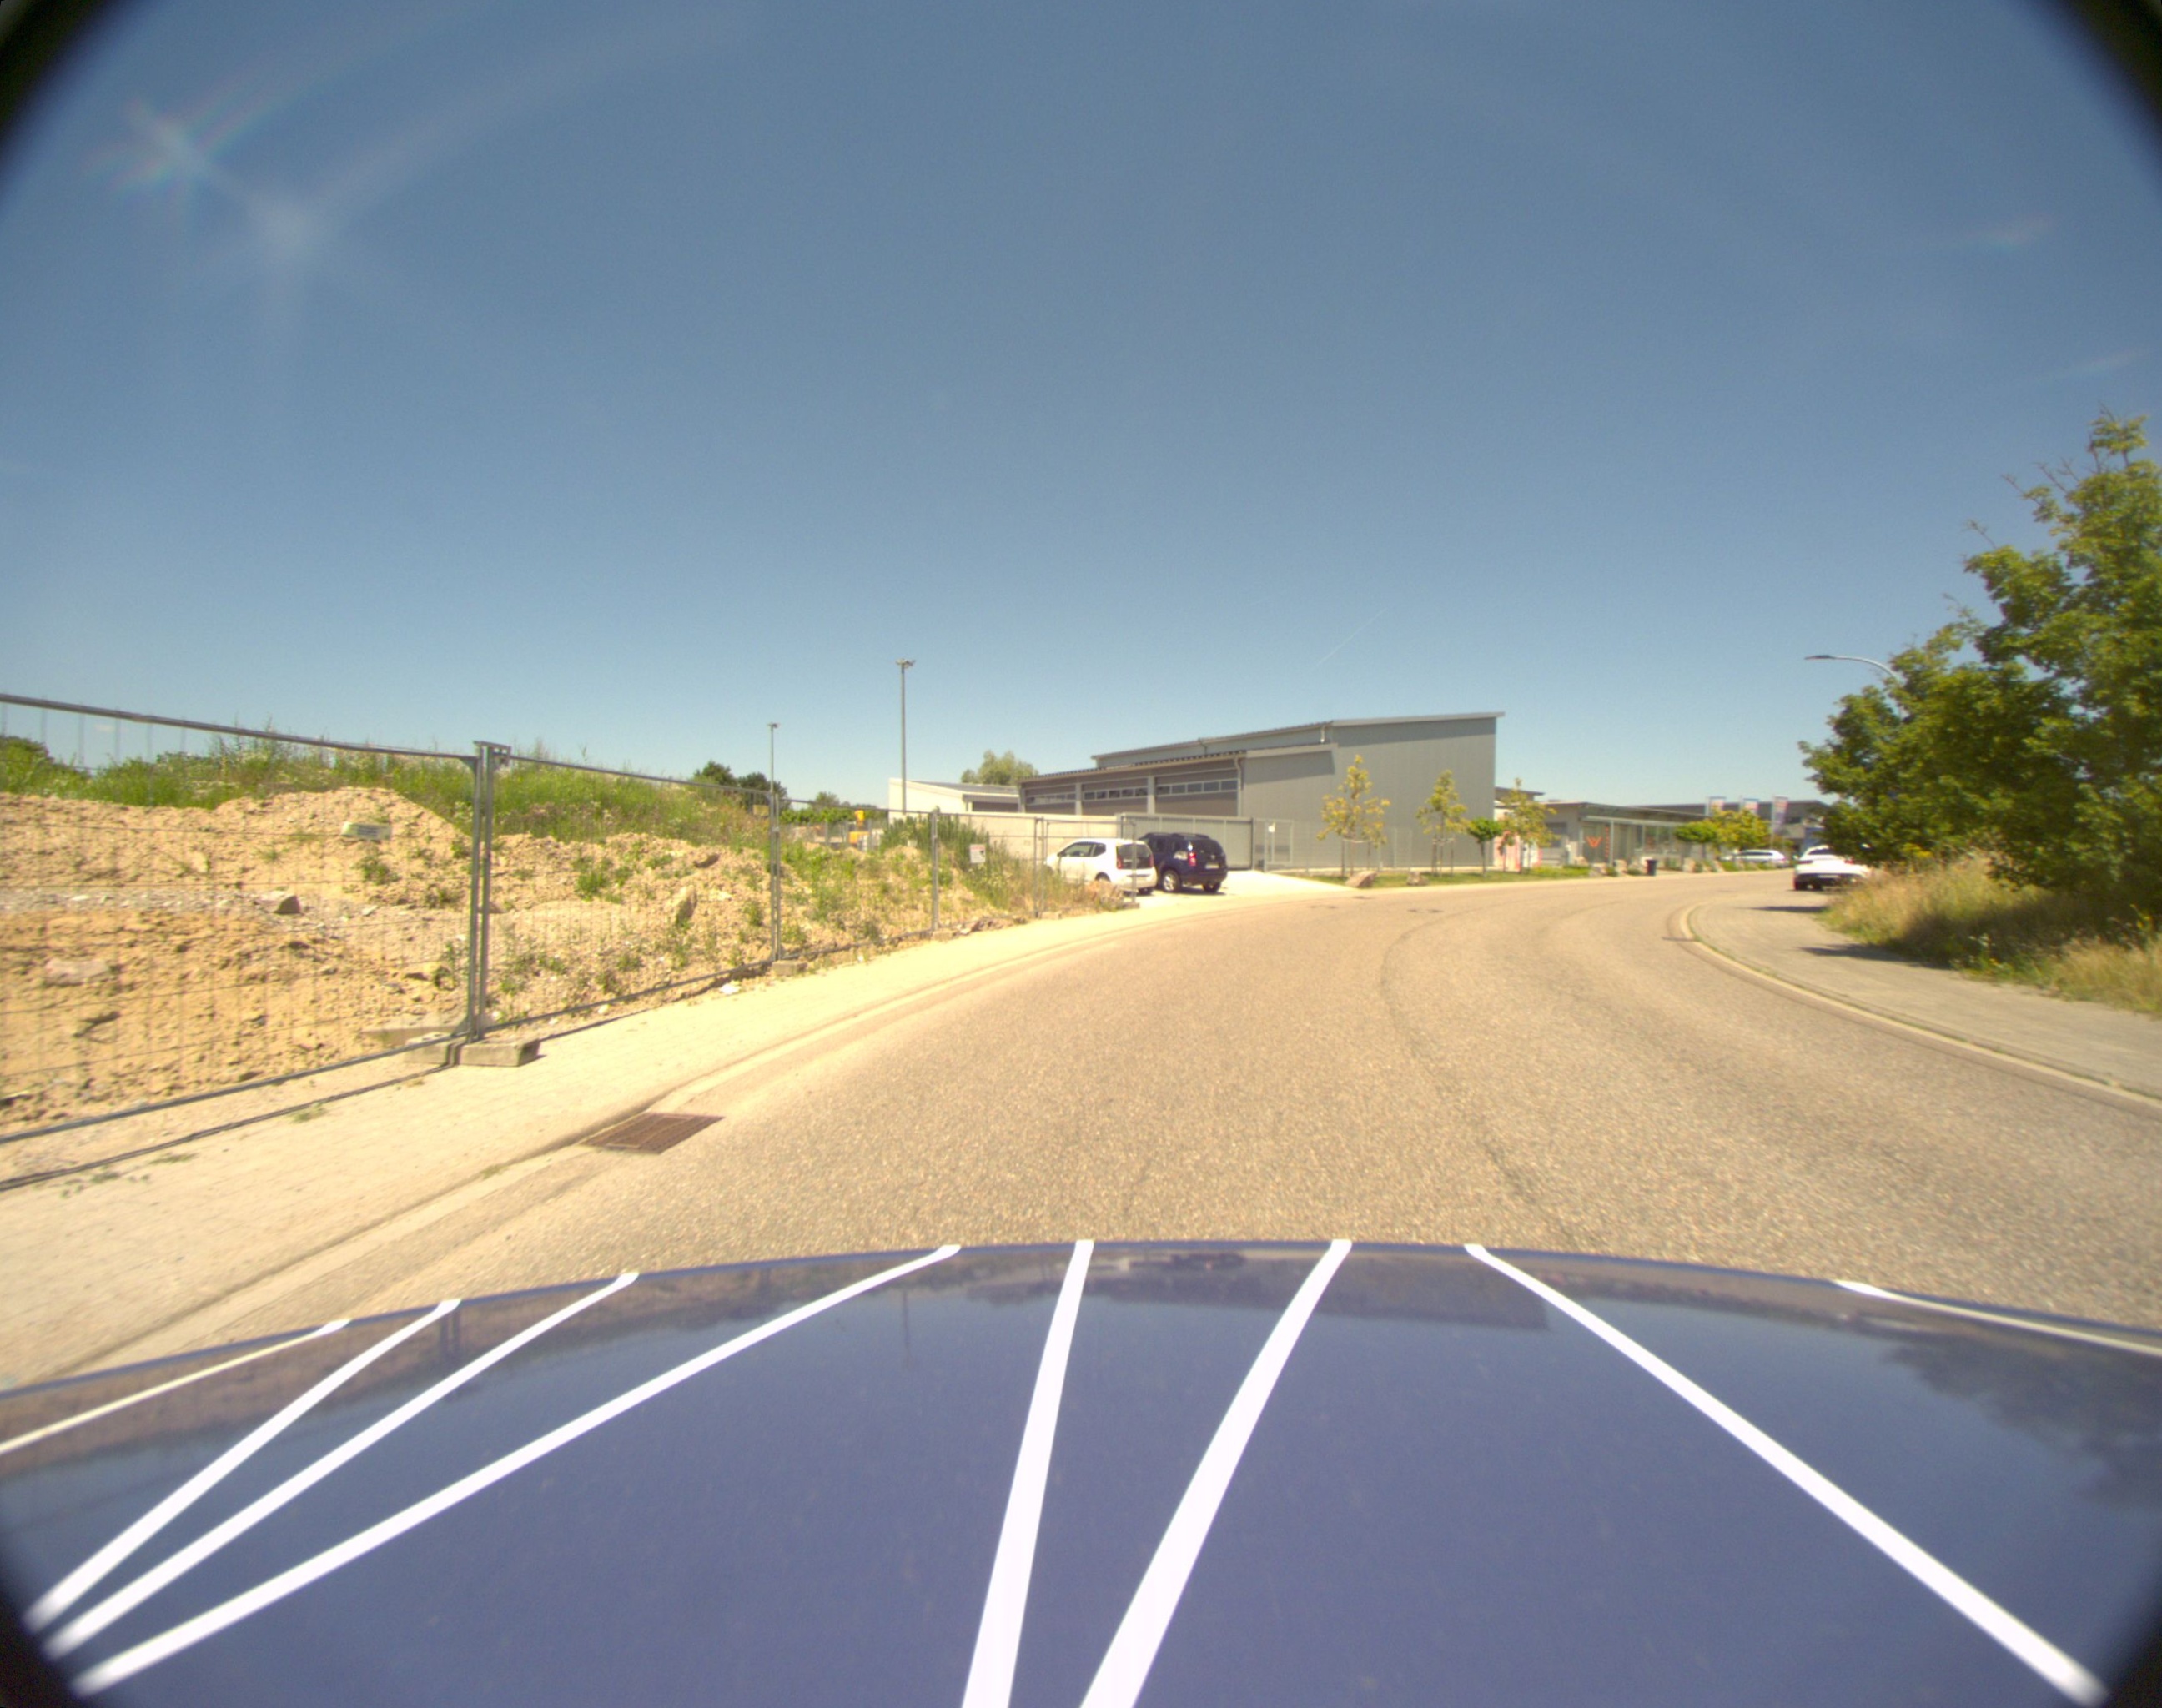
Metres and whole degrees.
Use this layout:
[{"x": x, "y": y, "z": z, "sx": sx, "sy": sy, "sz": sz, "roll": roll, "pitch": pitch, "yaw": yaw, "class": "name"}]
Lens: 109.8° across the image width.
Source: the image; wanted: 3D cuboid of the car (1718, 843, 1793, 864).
[{"x": 55.100, "y": -0.072, "z": 62.128, "sx": 1.917, "sy": 1.532, "sz": 4.280, "roll": 0, "pitch": 2, "yaw": -39, "class": "car"}]

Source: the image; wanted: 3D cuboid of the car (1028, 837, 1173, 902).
[{"x": 0.444, "y": 0.362, "z": 21.118, "sx": 1.896, "sy": 1.454, "sz": 4.010, "roll": 0, "pitch": 4, "yaw": -37, "class": "car"}]

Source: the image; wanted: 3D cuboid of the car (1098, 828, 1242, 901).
[{"x": 2.512, "y": 0.231, "z": 22.330, "sx": 1.861, "sy": 1.647, "sz": 4.009, "roll": 0, "pitch": 6, "yaw": -37, "class": "car"}]

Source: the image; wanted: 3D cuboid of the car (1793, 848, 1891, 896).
[{"x": 28.592, "y": 0.600, "z": 28.515, "sx": 4.764, "sy": 1.646, "sz": 1.913, "roll": 0, "pitch": 1, "yaw": -37, "class": "car"}]

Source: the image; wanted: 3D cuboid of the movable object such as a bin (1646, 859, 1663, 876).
[{"x": 31.507, "y": 0.731, "z": 41.749, "sx": 0.540, "sy": 0.941, "sz": 0.558, "roll": -1, "pitch": 3, "yaw": -38, "class": "movable object such as a bin"}]
